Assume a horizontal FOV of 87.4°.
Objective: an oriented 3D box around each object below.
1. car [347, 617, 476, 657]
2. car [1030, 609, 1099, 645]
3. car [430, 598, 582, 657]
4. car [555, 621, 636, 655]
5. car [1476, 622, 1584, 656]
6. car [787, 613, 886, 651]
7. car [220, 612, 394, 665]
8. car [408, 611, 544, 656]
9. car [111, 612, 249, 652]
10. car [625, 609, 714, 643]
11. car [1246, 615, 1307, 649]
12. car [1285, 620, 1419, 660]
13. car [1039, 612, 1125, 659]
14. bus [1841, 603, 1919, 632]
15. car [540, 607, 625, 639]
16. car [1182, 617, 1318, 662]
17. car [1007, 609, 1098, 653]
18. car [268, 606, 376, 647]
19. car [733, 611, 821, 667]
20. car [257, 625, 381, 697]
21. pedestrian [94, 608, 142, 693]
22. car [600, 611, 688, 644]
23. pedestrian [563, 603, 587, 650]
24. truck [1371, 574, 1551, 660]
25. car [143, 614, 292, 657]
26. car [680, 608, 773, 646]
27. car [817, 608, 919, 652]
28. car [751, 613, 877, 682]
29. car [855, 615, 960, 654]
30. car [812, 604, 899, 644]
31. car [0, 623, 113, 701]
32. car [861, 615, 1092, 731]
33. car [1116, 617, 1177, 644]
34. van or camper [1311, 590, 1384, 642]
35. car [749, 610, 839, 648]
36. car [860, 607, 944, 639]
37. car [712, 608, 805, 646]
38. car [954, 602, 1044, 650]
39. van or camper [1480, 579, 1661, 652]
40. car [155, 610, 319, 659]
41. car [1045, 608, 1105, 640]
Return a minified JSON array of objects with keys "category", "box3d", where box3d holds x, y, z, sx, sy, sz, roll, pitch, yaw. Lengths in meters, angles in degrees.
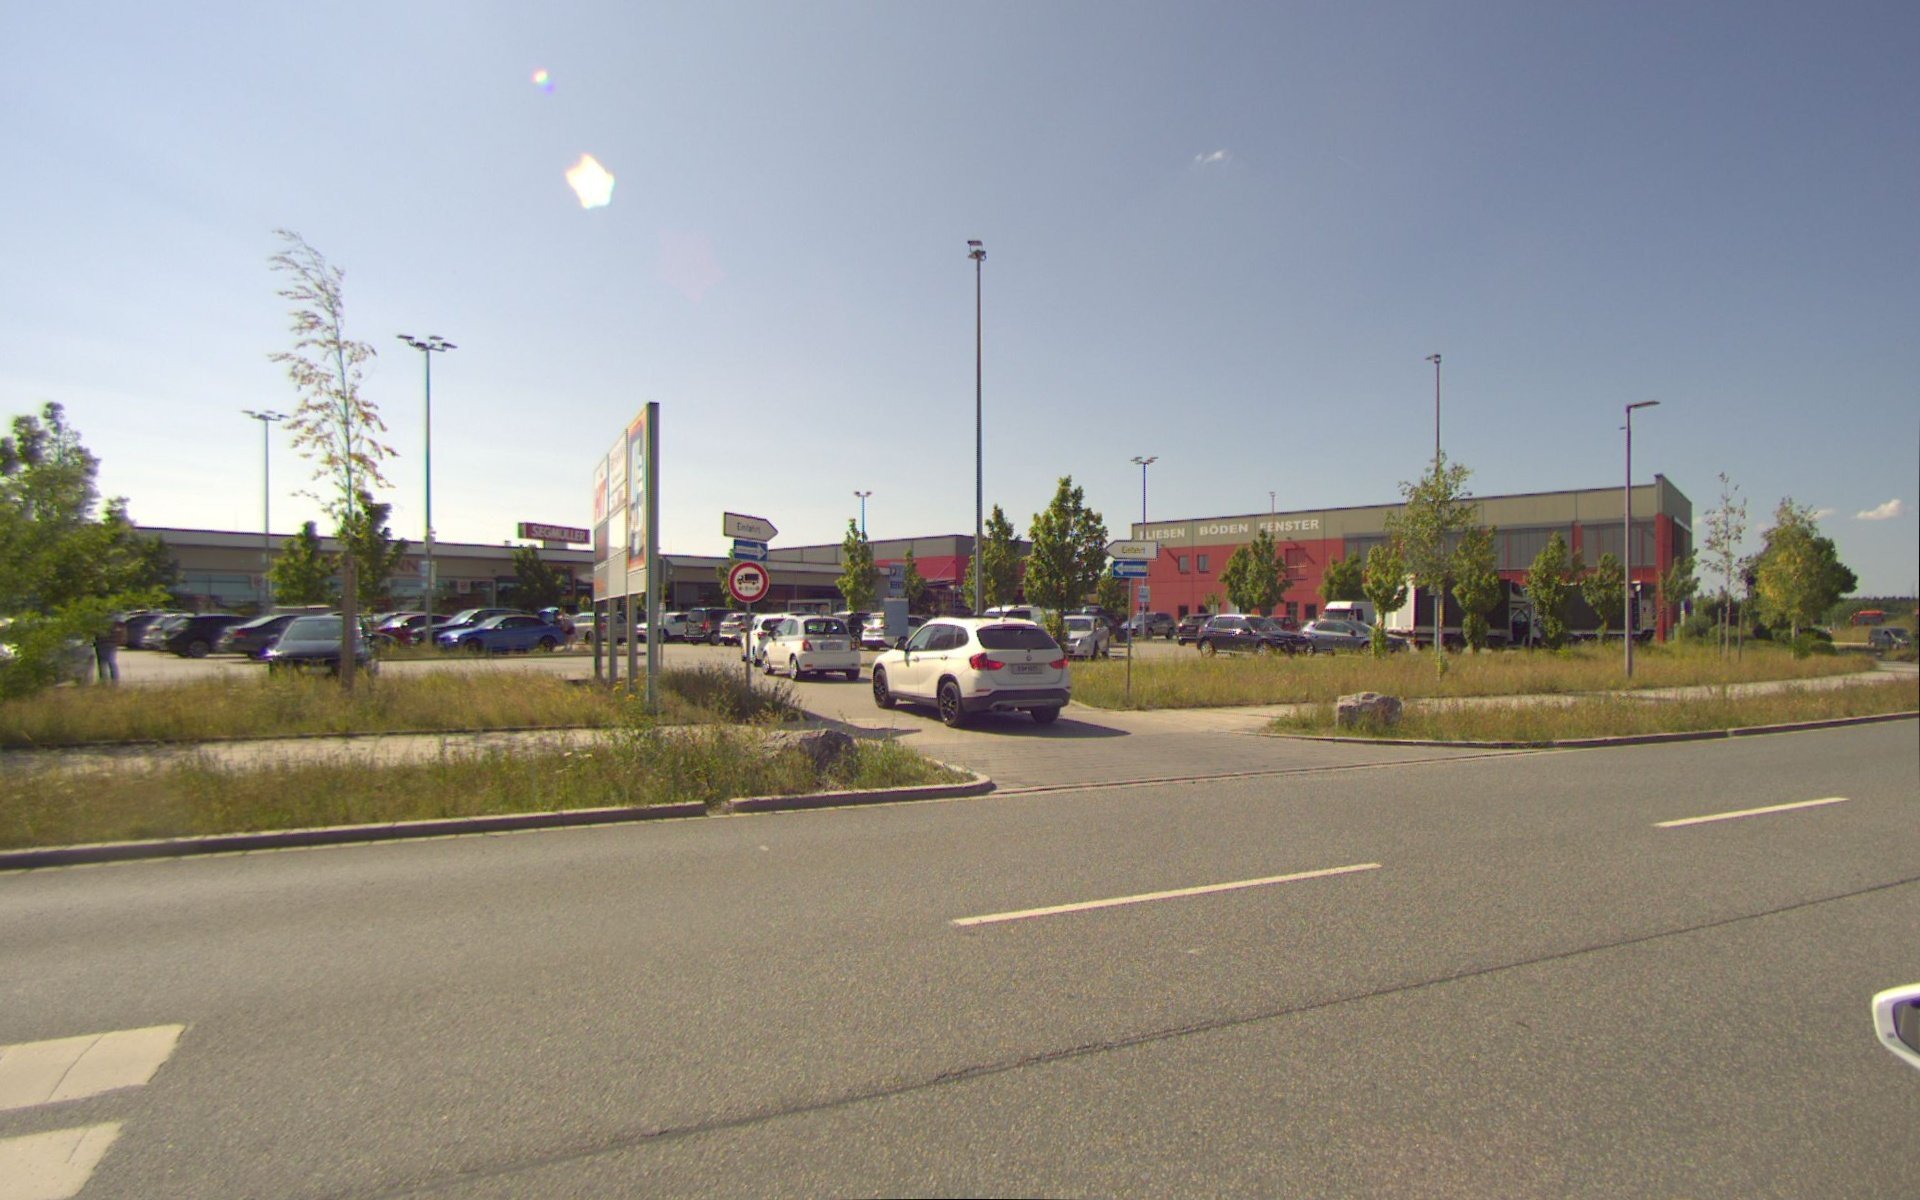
[{"category":"car","box3d":[-22.534,1.496,41.400,1.692,1.596,4.334,-1,-2,40]},{"category":"car","box3d":[6.152,1.560,58.832,1.811,2.021,4.359,0,-2,41]},{"category":"car","box3d":[-16.397,0.984,36.508,1.692,2.012,4.811,-1,-2,40]},{"category":"car","box3d":[-17.495,1.796,48.120,3.937,1.568,1.833,0,-2,38]},{"category":"car","box3d":[27.986,1.878,49.368,1.826,1.572,4.324,2,-2,-44]},{"category":"car","box3d":[-5.577,1.454,45.808,1.890,1.639,4.359,0,-2,41]},{"category":"car","box3d":[-20.535,1.187,31.737,1.692,1.536,4.334,-1,-2,40]},{"category":"car","box3d":[-18.180,1.226,37.872,1.692,1.602,4.334,-1,-2,40]},{"category":"car","box3d":[-32.743,1.332,42.246,1.692,1.623,4.334,-1,-2,40]},{"category":"car","box3d":[-15.604,1.380,54.111,1.887,1.748,4.365,0,-2,37]},{"category":"car","box3d":[17.812,1.776,56.368,1.810,1.797,4.363,0,-2,39]},{"category":"car","box3d":[14.730,1.474,37.949,1.955,1.402,4.397,1,-2,-34]},{"category":"car","box3d":[4.414,1.230,35.598,1.803,1.532,4.619,0,-1,23]},{"category":"bus","box3d":[108.787,2.032,117.625,12.012,3.120,2.785,-1,-1,-19]},{"category":"car","box3d":[-22.068,1.367,58.850,1.887,1.783,4.365,0,-2,37]},{"category":"car","box3d":[10.133,1.335,35.392,1.819,1.478,4.548,1,-2,-34]},{"category":"car","box3d":[4.140,1.366,44.522,1.811,1.847,4.359,0,-2,41]},{"category":"car","box3d":[-32.396,1.330,51.071,1.692,1.984,4.334,-1,-2,40]},{"category":"car","box3d":[-5.609,1.153,30.466,1.889,1.568,3.980,1,-1,-22]},{"category":"car","box3d":[-13.643,1.229,21.598,1.912,1.366,4.127,1,-1,-28]},{"category":"pedestrian","box3d":[-17.256,1.022,20.589,0.571,1.717,0.761,1,-1,-28]},{"category":"car","box3d":[-17.524,1.508,55.831,1.887,1.740,4.365,0,-2,37]},{"category":"pedestrian","box3d":[-14.793,1.014,38.627,0.788,1.783,0.544,0,-1,42]},{"category":"truck","box3d":[21.653,0.773,43.454,7.371,3.510,2.317,1,-1,-16]},{"category":"car","box3d":[-28.463,1.331,38.603,1.692,1.564,4.334,-1,-2,40]},{"category":"car","box3d":[-11.725,1.370,50.639,1.887,1.817,4.365,0,-2,37]},{"category":"car","box3d":[-3.956,1.297,43.750,1.890,1.827,4.359,0,-2,41]},{"category":"car","box3d":[-3.705,1.127,24.904,1.893,1.568,3.972,1,-1,-27]},{"category":"car","box3d":[-2.113,1.428,41.604,1.811,1.532,4.359,0,-2,41]},{"category":"car","box3d":[-5.575,1.317,54.053,1.811,2.051,4.609,0,-2,41]},{"category":"car","box3d":[-18.053,1.134,19.278,1.912,1.366,4.127,1,-1,-28]},{"category":"car","box3d":[0.097,1.037,15.873,1.893,1.568,4.196,1,-1,-27]},{"category":"car","box3d":[11.478,1.891,61.576,1.810,1.583,4.363,0,-2,39]},{"category":"van or camper","box3d":[26.264,1.142,67.858,2.401,3.314,7.201,0,-2,40]},{"category":"car","box3d":[-7.891,1.373,48.136,1.884,1.740,4.372,0,-1,31]},{"category":"car","box3d":[-2.946,1.188,52.075,1.811,1.603,4.359,0,-2,41]},{"category":"car","box3d":[-9.809,1.310,49.224,1.886,1.749,4.367,0,-2,36]},{"category":"car","box3d":[1.860,1.196,46.231,1.811,2.092,4.359,0,-2,41]},{"category":"van or camper","box3d":[31.426,0.821,51.979,2.538,3.514,7.618,2,-2,-43]},{"category":"car","box3d":[-24.879,1.165,34.682,1.692,1.581,4.334,-1,-2,40]},{"category":"car","box3d":[7.516,1.560,65.173,1.810,2.021,4.363,0,-2,39]}]
